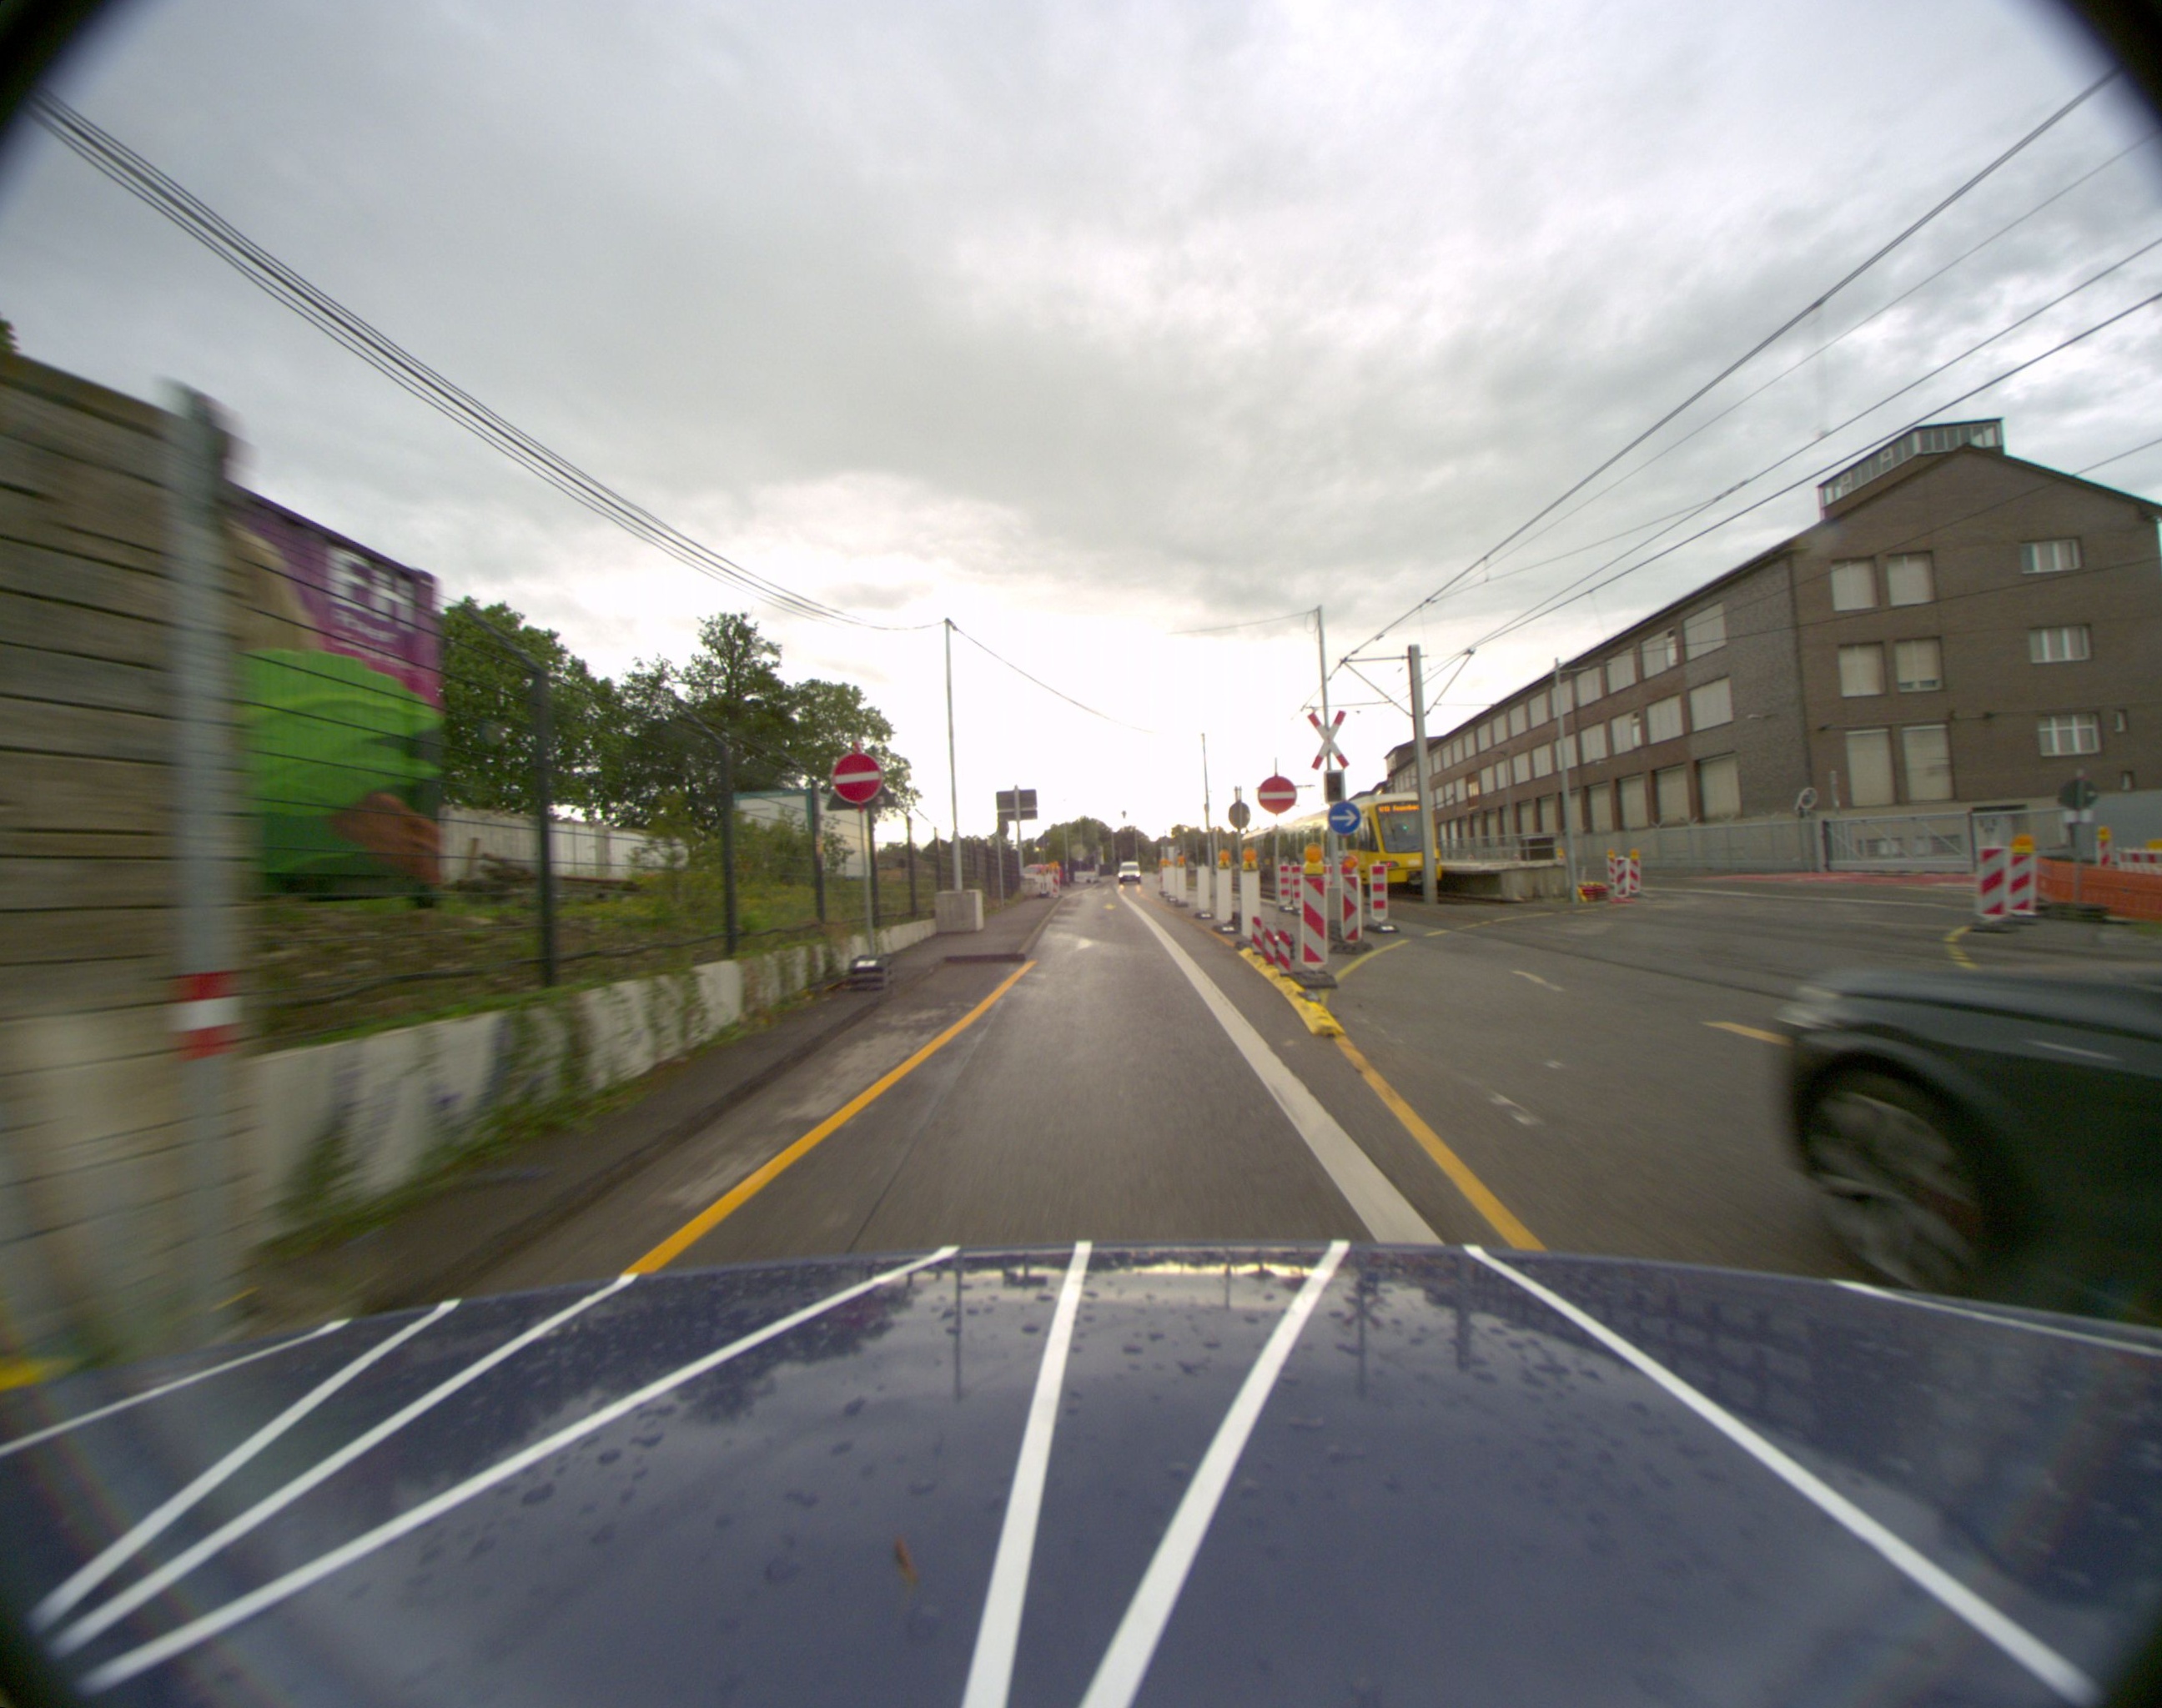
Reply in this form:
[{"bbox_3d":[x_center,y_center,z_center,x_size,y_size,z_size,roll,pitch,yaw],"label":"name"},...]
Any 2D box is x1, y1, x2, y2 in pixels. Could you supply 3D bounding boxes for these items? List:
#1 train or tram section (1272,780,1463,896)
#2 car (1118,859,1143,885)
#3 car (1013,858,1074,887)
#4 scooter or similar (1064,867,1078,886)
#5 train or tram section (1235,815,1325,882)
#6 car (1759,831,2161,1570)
[{"bbox_3d":[12.405,-0.453,36.187,2.962,3.862,19.298,-4,-1,4],"label":"train or tram section"},{"bbox_3d":[4.140,1.465,64.050,1.998,2.002,4.001,-1,0,3],"label":"car"},{"bbox_3d":[-2.551,1.270,52.477,1.820,1.783,4.417,-3,-1,35],"label":"car"},{"bbox_3d":[-0.733,1.658,56.750,0.616,1.343,1.914,-3,-1,10],"label":"scooter or similar"},{"bbox_3d":[13.989,-0.264,55.571,2.961,3.862,19.582,-4,-1,5],"label":"train or tram section"},{"bbox_3d":[3.300,0.771,0.516,1.997,1.668,4.491,-2,0,7],"label":"car"}]
